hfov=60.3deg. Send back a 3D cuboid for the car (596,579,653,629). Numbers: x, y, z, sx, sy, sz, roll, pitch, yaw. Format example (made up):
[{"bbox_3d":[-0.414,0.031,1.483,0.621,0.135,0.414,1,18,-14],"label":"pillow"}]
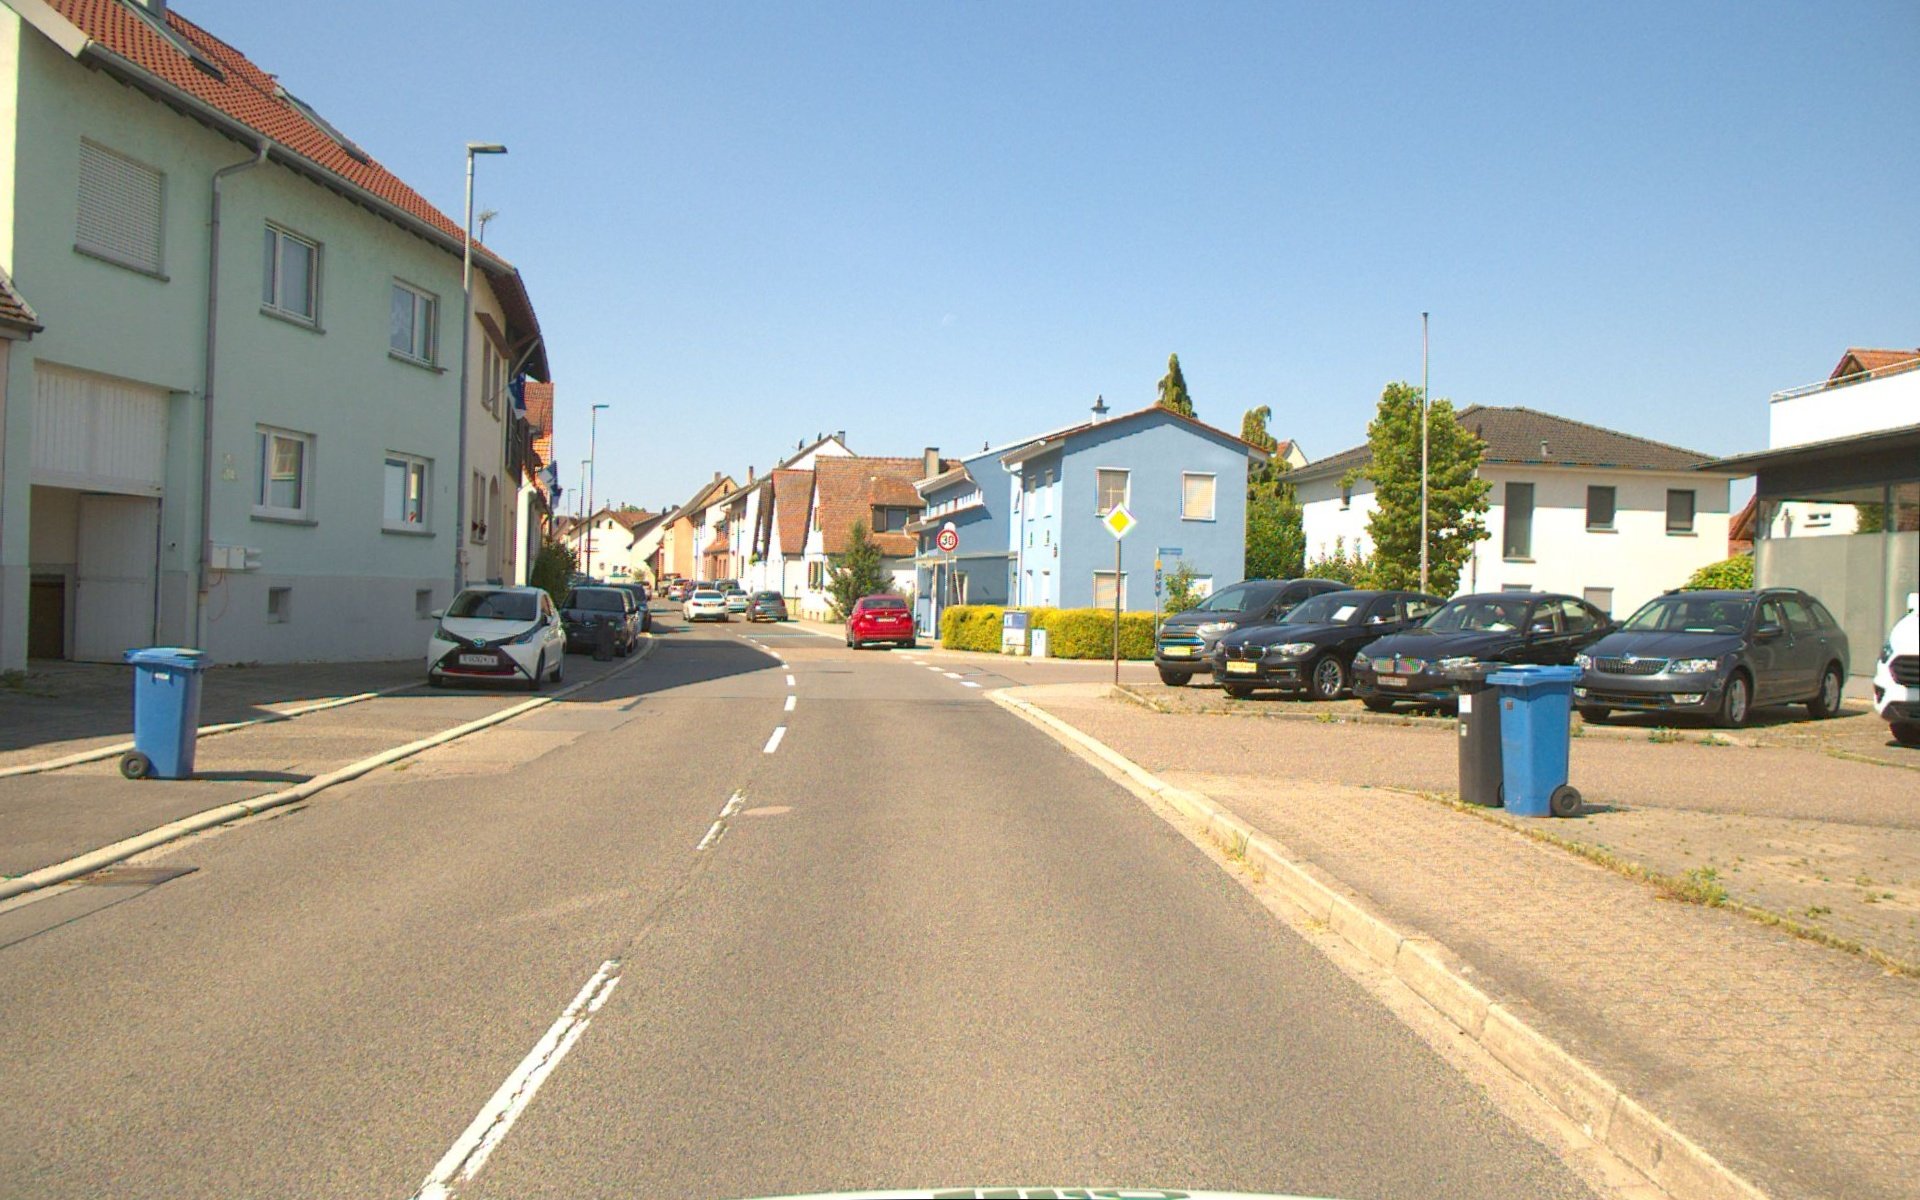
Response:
[{"bbox_3d":[-12.564,0.150,61.976,1.886,1.697,4.652,4,-1,-11],"label":"car"}]

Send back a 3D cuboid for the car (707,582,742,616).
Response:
[{"bbox_3d":[-14.085,-0.067,98.863,1.622,1.943,3.611,2,0,-15],"label":"car"}]

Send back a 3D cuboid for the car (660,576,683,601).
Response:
[{"bbox_3d":[-24.275,-0.937,139.113,1.737,2.039,3.438,1,0,-14],"label":"car"}]

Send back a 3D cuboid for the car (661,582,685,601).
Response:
[{"bbox_3d":[-23.359,-0.668,134.551,1.737,1.458,3.438,1,0,-14],"label":"car"}]

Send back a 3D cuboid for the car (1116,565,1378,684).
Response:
[{"bbox_3d":[4.470,0.352,25.472,4.076,1.682,1.804,1,0,-41],"label":"car"}]

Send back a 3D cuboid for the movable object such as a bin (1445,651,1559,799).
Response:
[{"bbox_3d":[3.637,0.830,11.124,0.547,0.953,0.513,1,0,-10],"label":"movable object such as a bin"}]

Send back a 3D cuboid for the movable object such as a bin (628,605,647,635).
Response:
[{"bbox_3d":[-11.059,0.677,56.680,0.586,0.999,0.529,3,0,-13],"label":"movable object such as a bin"}]

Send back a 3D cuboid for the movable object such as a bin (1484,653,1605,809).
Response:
[{"bbox_3d":[3.748,0.830,10.624,0.547,0.955,0.513,1,0,-10],"label":"movable object such as a bin"}]

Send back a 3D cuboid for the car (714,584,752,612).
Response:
[{"bbox_3d":[-12.868,-0.130,93.808,1.676,1.523,3.439,2,0,-15],"label":"car"}]

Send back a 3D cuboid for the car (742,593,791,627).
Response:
[{"bbox_3d":[-9.064,0.430,77.217,1.676,1.458,3.874,2,0,-15],"label":"car"}]

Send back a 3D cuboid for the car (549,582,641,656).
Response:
[{"bbox_3d":[-8.170,0.402,37.258,1.647,1.462,3.988,4,-1,-9],"label":"car"}]

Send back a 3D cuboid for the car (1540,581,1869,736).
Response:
[{"bbox_3d":[8.663,0.603,19.081,4.281,1.578,1.954,1,0,-43],"label":"car"}]

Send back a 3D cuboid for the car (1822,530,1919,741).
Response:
[{"bbox_3d":[11.659,0.370,17.177,5.206,2.049,2.213,1,0,-27],"label":"car"}]

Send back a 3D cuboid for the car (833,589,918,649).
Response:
[{"bbox_3d":[-2.424,0.486,46.471,1.702,1.520,4.342,0,1,-12],"label":"car"}]

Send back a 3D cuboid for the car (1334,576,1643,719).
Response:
[{"bbox_3d":[6.663,0.531,20.616,4.207,1.593,1.952,0,0,-45],"label":"car"}]

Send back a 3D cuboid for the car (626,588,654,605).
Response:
[{"bbox_3d":[-25.293,-0.293,130.657,1.960,1.311,3.789,1,0,-14],"label":"car"}]

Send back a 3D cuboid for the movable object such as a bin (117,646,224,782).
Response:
[{"bbox_3d":[-5.870,0.841,12.316,0.547,0.952,0.513,3,0,-10],"label":"movable object such as a bin"}]

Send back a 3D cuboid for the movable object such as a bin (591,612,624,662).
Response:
[{"bbox_3d":[-7.217,0.756,33.854,0.542,0.944,0.822,6,-1,-14],"label":"movable object such as a bin"}]

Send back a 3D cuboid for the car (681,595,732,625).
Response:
[{"bbox_3d":[-11.826,0.450,77.091,1.960,1.311,3.985,1,0,-14],"label":"car"}]

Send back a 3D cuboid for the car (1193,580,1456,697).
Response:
[{"bbox_3d":[5.068,0.486,22.750,3.844,1.472,1.723,0,0,-44],"label":"car"}]

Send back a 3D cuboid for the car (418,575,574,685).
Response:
[{"bbox_3d":[-6.909,0.431,24.938,1.652,1.487,3.644,2,0,-7],"label":"car"}]

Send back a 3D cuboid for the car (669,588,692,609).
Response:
[{"bbox_3d":[-21.347,-0.128,126.314,1.397,1.541,3.291,2,0,-15],"label":"car"}]
